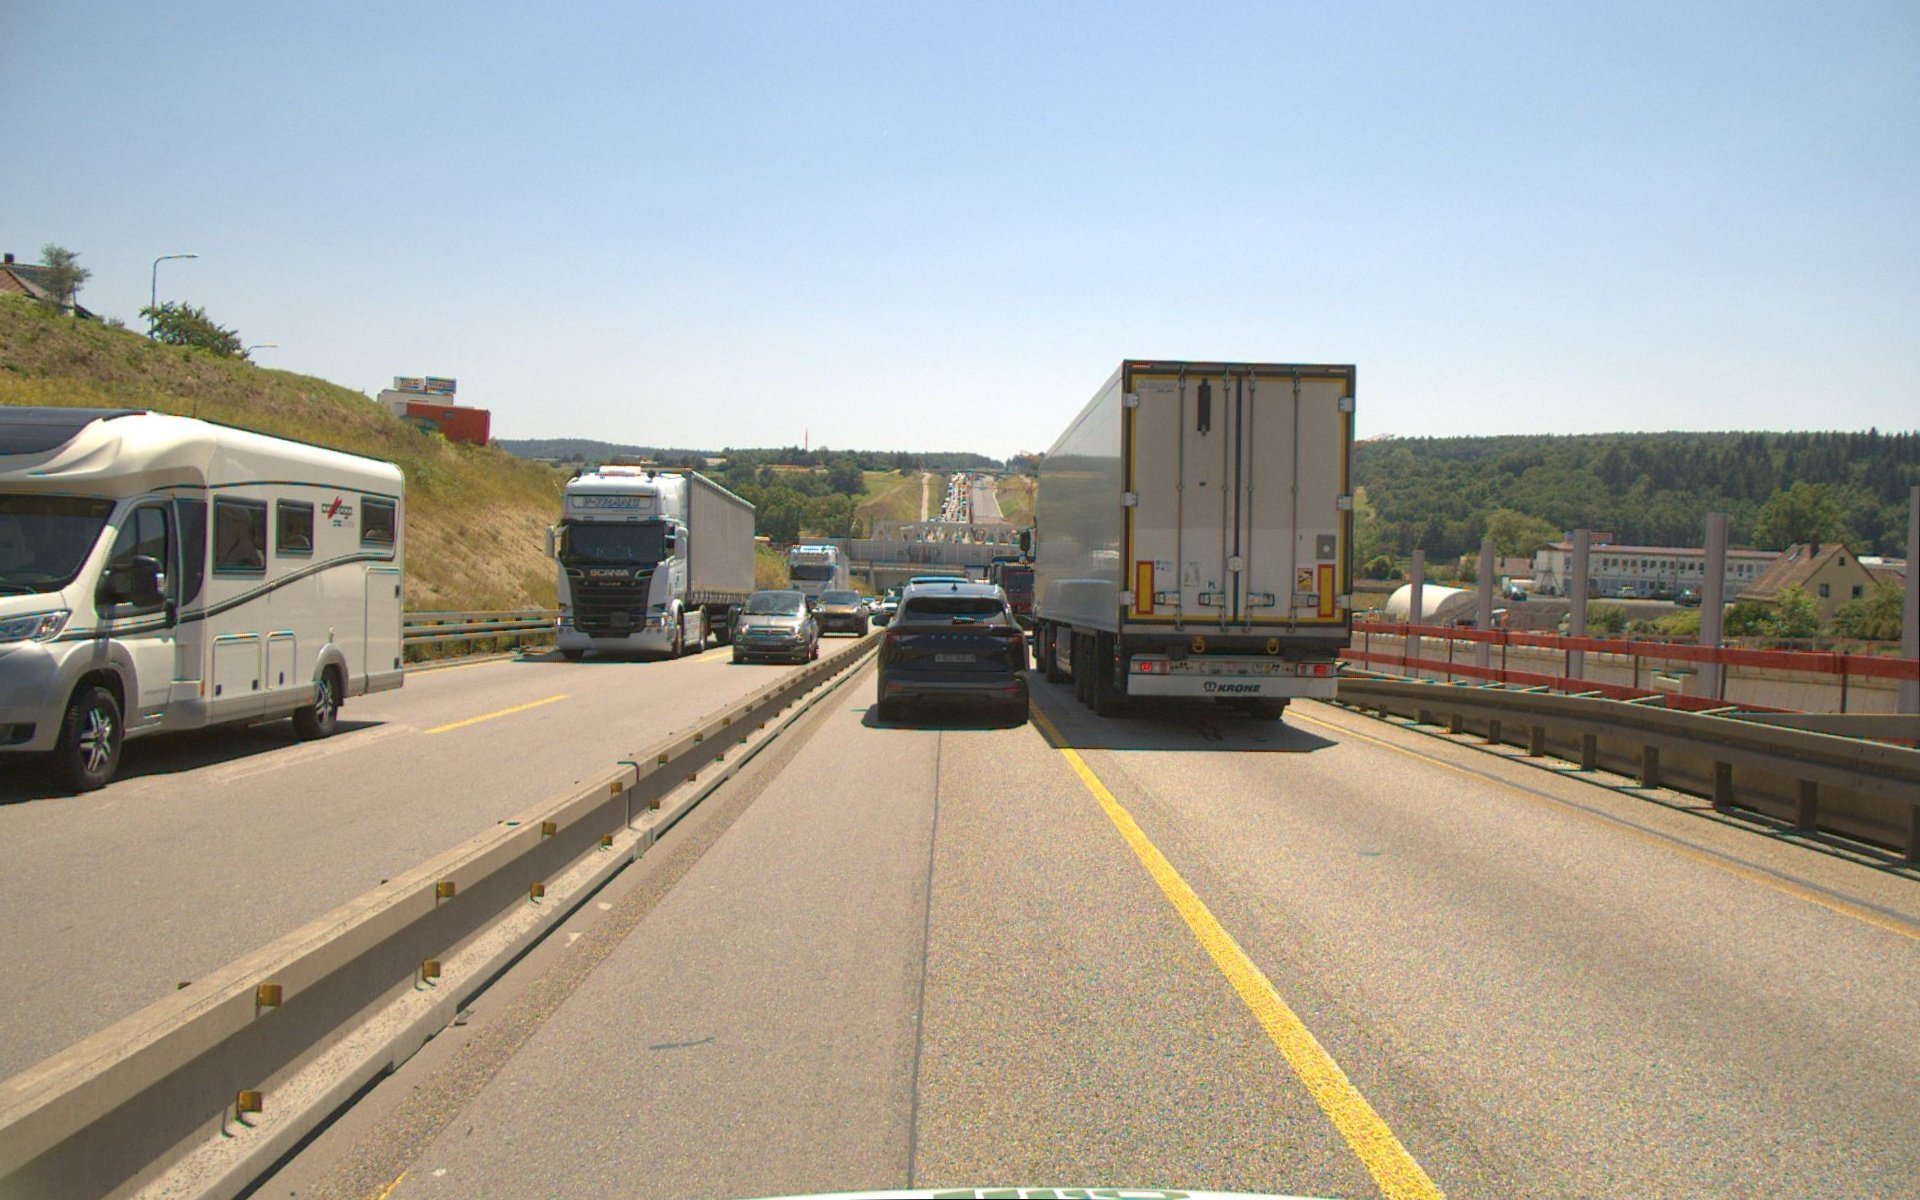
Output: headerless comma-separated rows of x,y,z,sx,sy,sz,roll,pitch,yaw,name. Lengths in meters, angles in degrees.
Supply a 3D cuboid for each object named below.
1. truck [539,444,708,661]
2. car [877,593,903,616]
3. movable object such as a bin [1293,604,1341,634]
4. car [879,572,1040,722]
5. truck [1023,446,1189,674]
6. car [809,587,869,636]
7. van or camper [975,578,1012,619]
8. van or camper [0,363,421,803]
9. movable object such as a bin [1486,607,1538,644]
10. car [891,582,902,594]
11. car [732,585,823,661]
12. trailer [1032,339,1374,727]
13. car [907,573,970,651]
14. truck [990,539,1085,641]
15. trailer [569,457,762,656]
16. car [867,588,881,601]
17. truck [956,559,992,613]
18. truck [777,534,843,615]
-7.229,-0.979,36.136,2.718,4.361,4.675,1,0,-1,truck
-5.251,0.337,124.790,1.775,1.666,4.362,1,0,0,car
35.786,1.868,166.180,2.828,2.960,9.478,1,0,0,movable object such as a bin
-0.019,0.510,20.073,1.764,1.648,3.297,1,0,-1,car
2.752,-0.716,32.596,2.720,4.129,4.903,1,-1,-1,truck
-4.181,0.386,57.630,1.811,1.614,4.173,1,0,-1,car
1.952,-0.092,96.739,1.953,2.283,3.999,2,0,-1,van or camper
-7.013,-0.147,14.364,2.287,2.826,7.515,1,0,-1,van or camper
35.388,1.626,106.080,1.953,2.278,4.151,1,0,0,movable object such as a bin
-9.587,-1.795,249.805,1.697,1.825,3.580,1,0,-1,car
-3.825,0.453,35.114,1.595,1.505,3.379,1,0,-1,car
2.918,-0.670,24.767,2.745,4.129,14.112,1,0,-1,trailer
-0.508,0.271,40.795,1.444,1.826,3.298,0,0,1,car
2.543,-0.280,58.348,2.756,3.190,12.836,1,0,0,truck
-7.381,-0.998,43.734,2.753,4.361,14.032,1,0,-1,trailer
-9.643,-0.630,185.856,1.614,1.440,3.998,0,0,-3,car
1.033,-1.107,129.413,2.467,4.028,7.598,2,0,-1,truck
-8.046,-1.331,89.239,3.173,4.233,4.246,1,0,-1,truck
